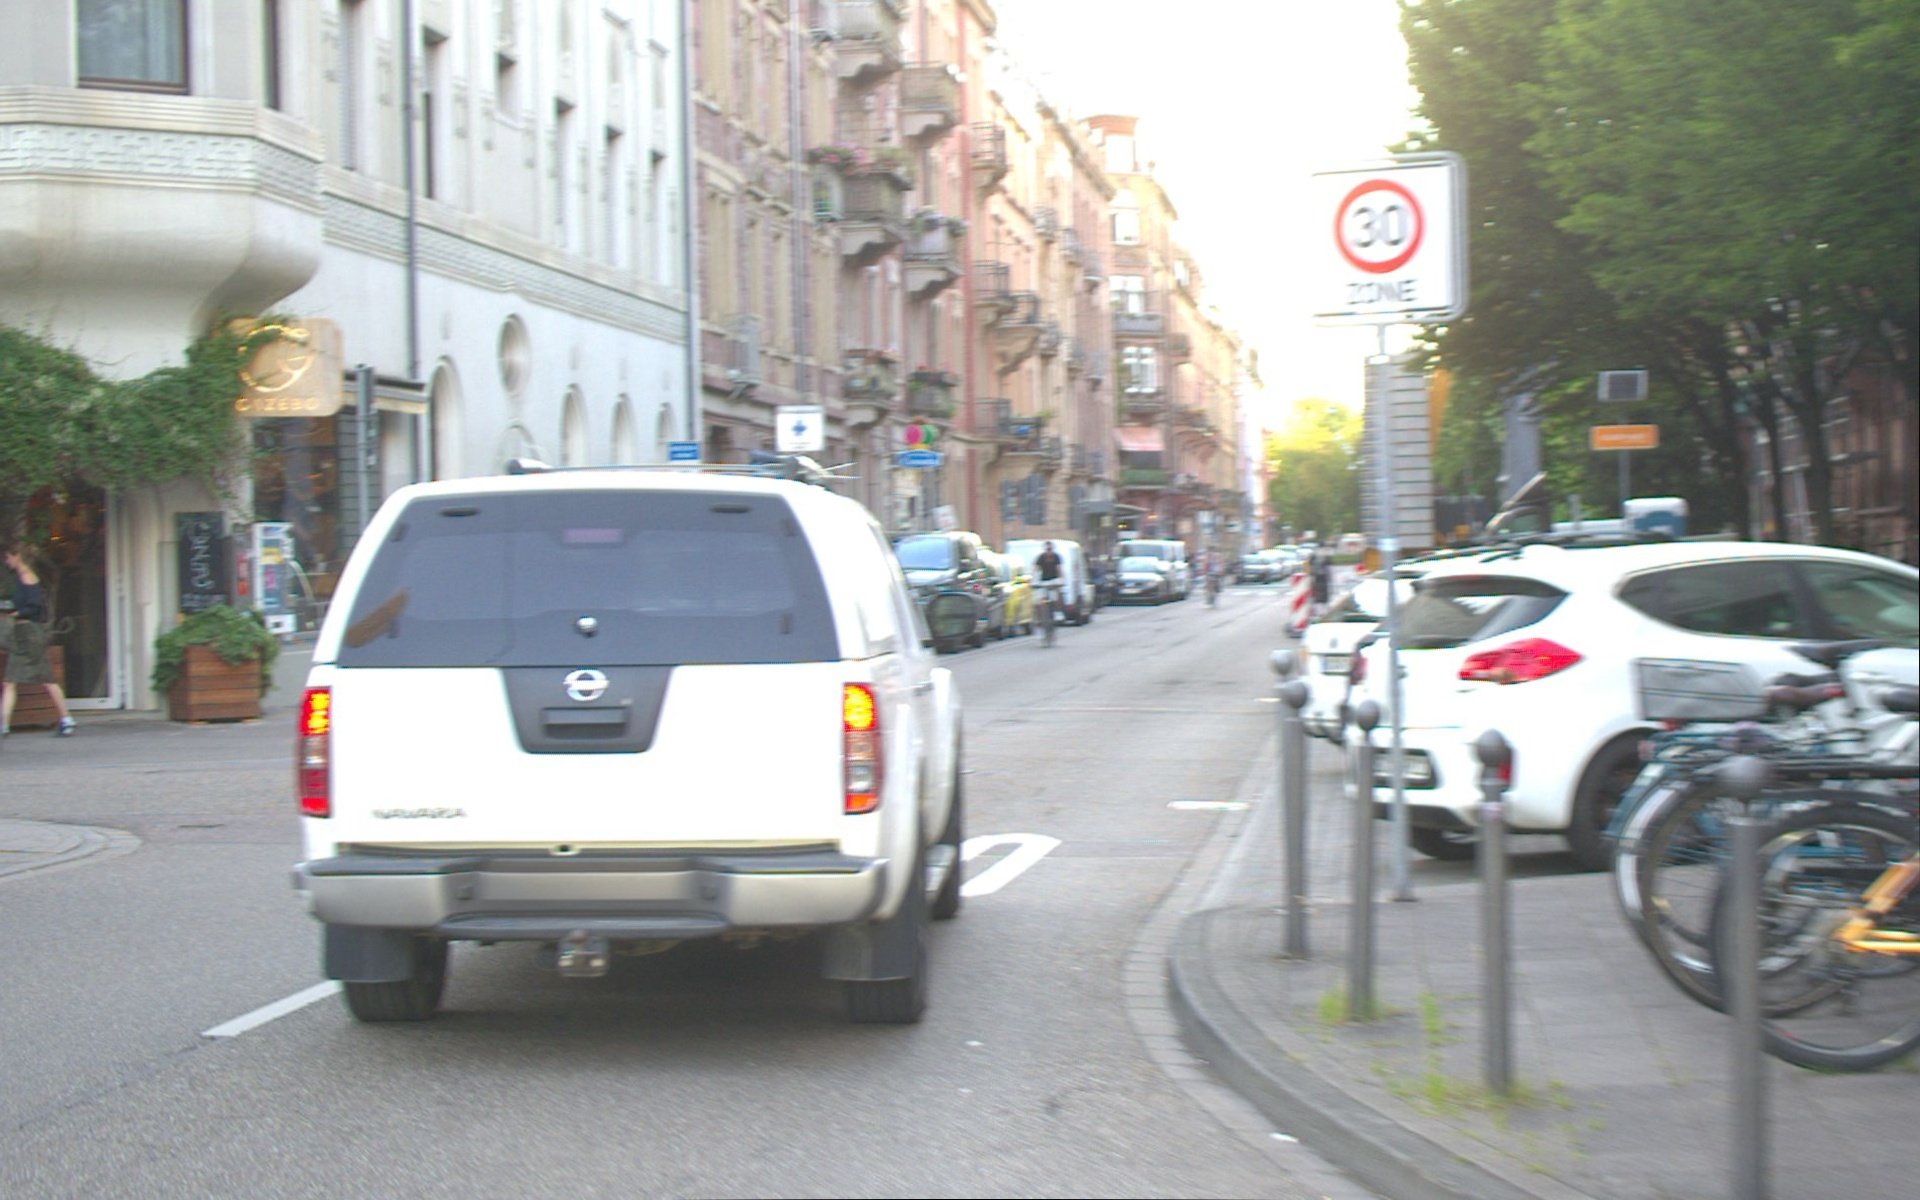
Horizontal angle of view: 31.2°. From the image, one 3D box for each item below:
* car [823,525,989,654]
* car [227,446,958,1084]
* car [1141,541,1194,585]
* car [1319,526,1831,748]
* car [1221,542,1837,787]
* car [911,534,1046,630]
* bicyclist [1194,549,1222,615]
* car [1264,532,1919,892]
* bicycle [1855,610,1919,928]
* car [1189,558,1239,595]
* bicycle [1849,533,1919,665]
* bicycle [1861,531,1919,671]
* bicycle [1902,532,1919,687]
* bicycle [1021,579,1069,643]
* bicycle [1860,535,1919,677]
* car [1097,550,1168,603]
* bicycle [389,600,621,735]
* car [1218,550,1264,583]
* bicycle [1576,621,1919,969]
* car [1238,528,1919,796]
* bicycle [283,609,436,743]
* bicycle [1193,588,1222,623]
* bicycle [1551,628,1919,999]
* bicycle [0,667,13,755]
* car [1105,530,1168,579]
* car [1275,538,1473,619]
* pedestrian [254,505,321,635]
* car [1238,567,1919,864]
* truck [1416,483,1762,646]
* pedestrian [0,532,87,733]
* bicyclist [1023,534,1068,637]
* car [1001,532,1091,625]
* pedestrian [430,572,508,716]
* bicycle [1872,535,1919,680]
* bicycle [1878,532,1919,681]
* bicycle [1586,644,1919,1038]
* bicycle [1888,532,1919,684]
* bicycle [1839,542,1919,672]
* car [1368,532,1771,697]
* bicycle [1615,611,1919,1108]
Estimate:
[{"bbox_3d":[-0.795,-0.188,53.906,1.905,1.919,4.945,0,1,7],"label":"car"},{"bbox_3d":[-1.049,0.464,12.077,1.933,1.788,4.621,-1,0,1],"label":"car"},{"bbox_3d":[7.599,-1.367,125.487,1.847,1.546,4.355,-1,1,4],"label":"car"},{"bbox_3d":[4.815,0.257,26.908,3.593,1.575,1.716,-2,1,-26],"label":"car"},{"bbox_3d":[3.993,0.402,24.101,3.986,1.532,1.636,-2,1,-24],"label":"car"},{"bbox_3d":[0.367,-0.347,62.058,1.994,1.647,3.999,-1,1,7],"label":"car"},{"bbox_3d":[7.005,-0.509,97.087,0.800,1.843,0.943,0,1,5],"label":"bicyclist"},{"bbox_3d":[3.645,0.451,16.336,3.986,1.501,1.771,-2,1,-22],"label":"car"},{"bbox_3d":[4.133,0.534,11.865,1.911,1.062,0.524,-3,0,6],"label":"bicycle"},{"bbox_3d":[11.380,-1.061,153.734,1.847,1.546,4.354,-1,1,9],"label":"car"},{"bbox_3d":[10.716,-0.034,36.246,2.535,1.375,0.599,-1,0,10],"label":"bicycle"},{"bbox_3d":[10.314,-0.014,34.235,2.535,1.375,0.599,-1,0,10],"label":"bicycle"},{"bbox_3d":[9.769,0.058,30.709,2.535,1.375,0.599,-1,0,10],"label":"bicycle"},{"bbox_3d":[1.435,0.171,57.541,0.615,1.036,1.903,-1,1,7],"label":"bicycle"},{"bbox_3d":[10.130,0.039,33.547,2.535,1.375,0.599,-1,0,10],"label":"bicycle"},{"bbox_3d":[5.133,-0.704,101.936,1.792,1.525,3.999,0,1,7],"label":"car"},{"bbox_3d":[-3.891,0.561,29.317,2.114,1.091,0.500,0,2,32],"label":"bicycle"},{"bbox_3d":[13.886,-1.672,169.609,1.847,1.546,4.353,-1,1,10],"label":"car"},{"bbox_3d":[3.003,0.615,11.271,1.858,1.062,0.445,-3,0,6],"label":"bicycle"},{"bbox_3d":[3.969,0.370,21.980,3.986,1.518,1.710,-2,-1,-24],"label":"car"},{"bbox_3d":[-4.941,0.609,28.387,0.424,1.009,1.717,0,2,20],"label":"bicycle"},{"bbox_3d":[7.009,0.148,97.183,0.800,0.944,2.004,0,1,5],"label":"bicycle"},{"bbox_3d":[2.800,0.632,10.572,1.858,1.062,0.445,-3,0,6],"label":"bicycle"},{"bbox_3d":[-8.017,0.940,27.201,0.423,0.693,1.779,-1,3,4],"label":"bicycle"},{"bbox_3d":[5.550,-1.431,107.925,1.710,1.525,3.999,0,1,7],"label":"car"},{"bbox_3d":[9.236,-0.474,76.582,4.198,1.774,1.818,0,1,13],"label":"car"},{"bbox_3d":[-7.003,-0.314,35.805,0.538,1.345,0.518,0,0,8],"label":"pedestrian"},{"bbox_3d":[3.799,0.602,19.478,3.986,1.468,1.876,-2,-1,-26],"label":"car"},{"bbox_3d":[11.837,-0.628,65.066,6.322,2.966,2.263,0,-2,9],"label":"truck"},{"bbox_3d":[-7.812,0.270,29.049,0.614,1.669,0.568,-1,1,-43],"label":"pedestrian"},{"bbox_3d":[1.430,-0.247,57.504,0.603,1.679,1.142,-1,1,7],"label":"bicyclist"},{"bbox_3d":[1.859,-0.478,73.253,1.559,1.914,3.855,1,1,6],"label":"car"},{"bbox_3d":[-4.555,0.402,31.914,0.537,1.320,0.705,0,0,8],"label":"pedestrian"},{"bbox_3d":[10.050,0.050,32.798,2.535,1.375,0.599,-1,0,10],"label":"bicycle"},{"bbox_3d":[9.904,0.036,32.051,2.535,1.375,0.599,-1,0,10],"label":"bicycle"},{"bbox_3d":[2.747,0.649,9.674,1.858,1.035,0.472,-3,0,6],"label":"bicycle"},{"bbox_3d":[9.828,0.049,31.422,2.535,1.375,0.599,-1,0,10],"label":"bicycle"},{"bbox_3d":[10.329,-0.021,34.980,2.535,1.240,0.599,-6,0,10],"label":"bicycle"},{"bbox_3d":[6.745,0.141,38.192,3.986,1.631,1.759,-2,1,-12],"label":"car"},{"bbox_3d":[2.548,0.614,8.572,1.708,1.172,0.472,-3,0,6],"label":"bicycle"}]
